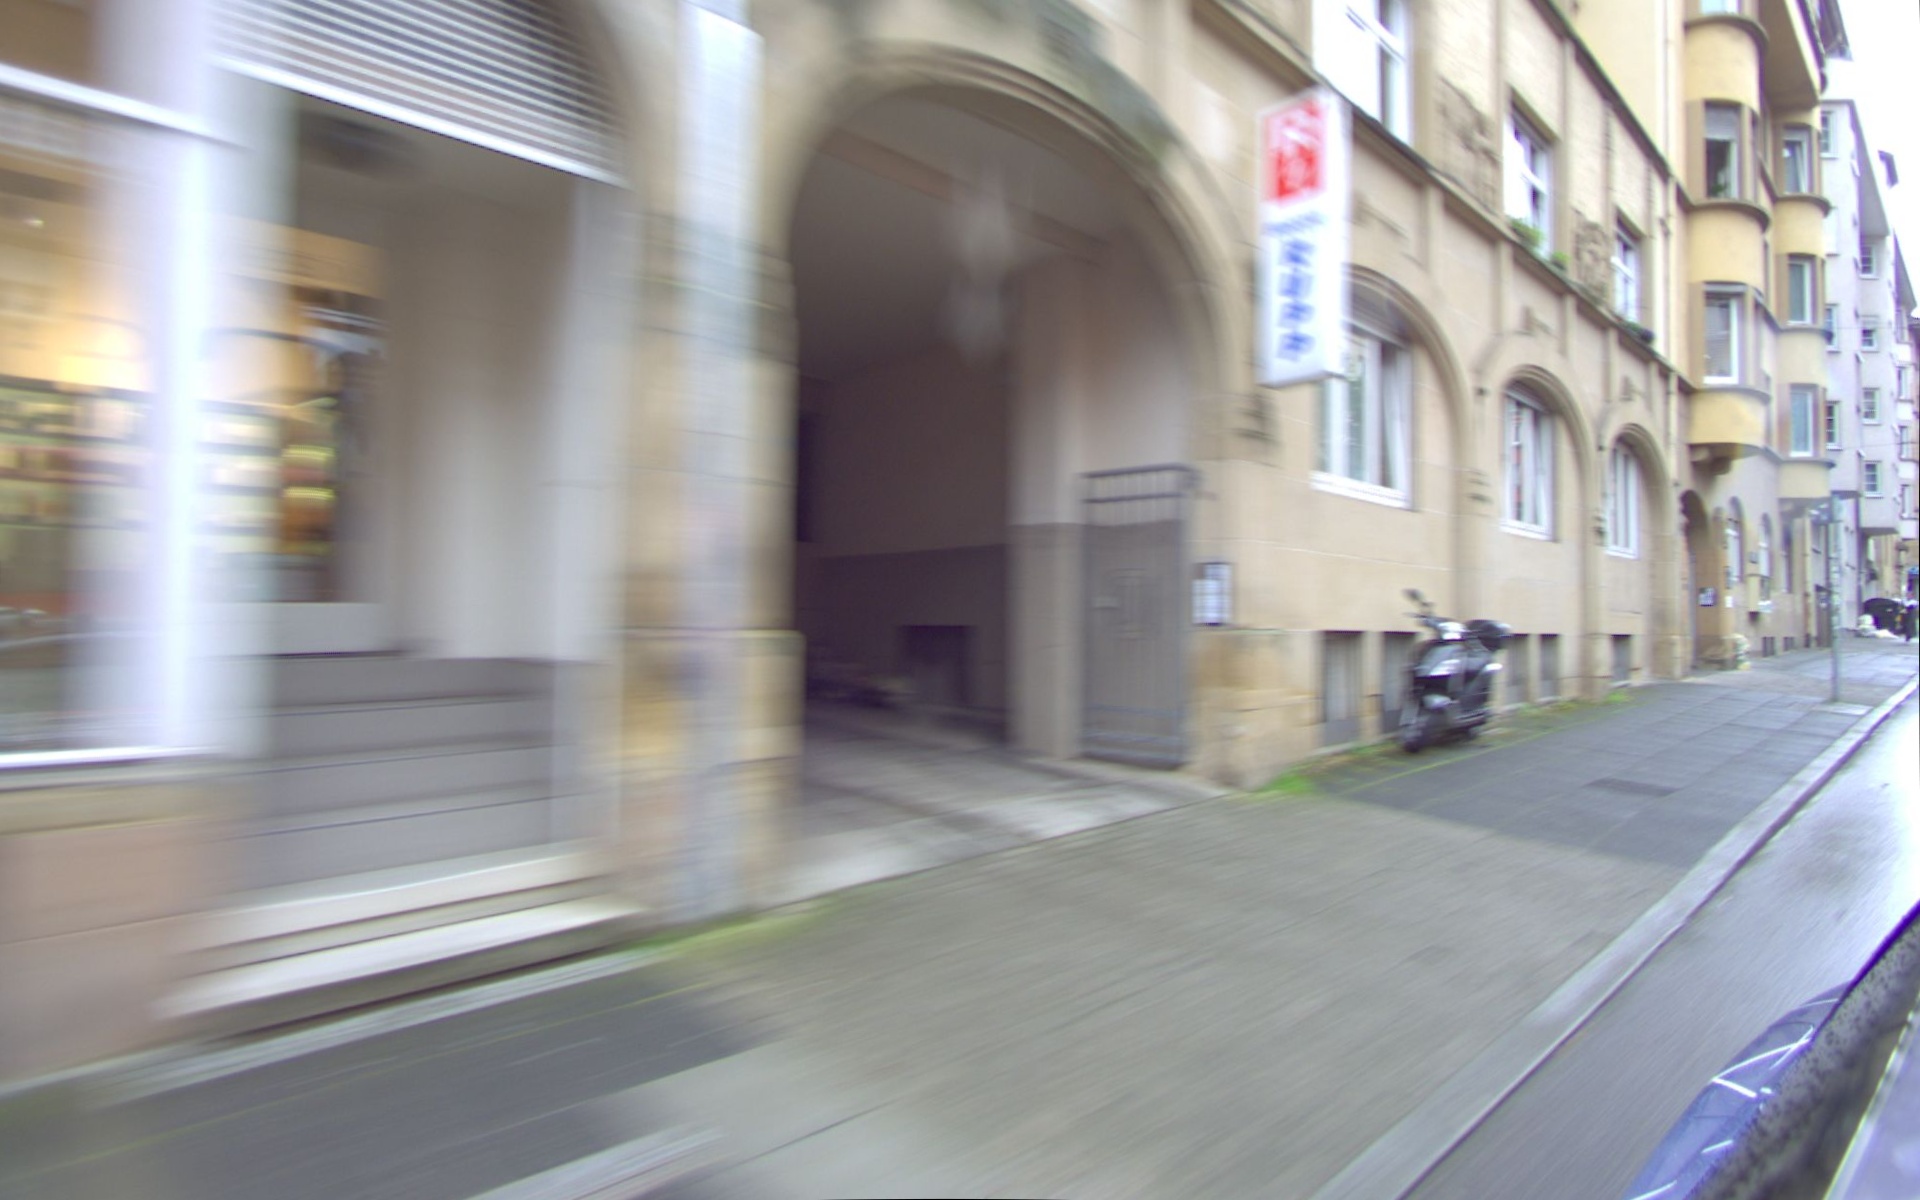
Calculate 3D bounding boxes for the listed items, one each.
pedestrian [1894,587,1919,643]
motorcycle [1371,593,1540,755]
[{"bbox_3d":[30.143,0.472,31.785,1.084,1.734,1.123,0,0,-45],"label":"pedestrian"},{"bbox_3d":[4.455,0.605,9.045,1.749,1.252,0.691,0,5,-43],"label":"motorcycle"}]
